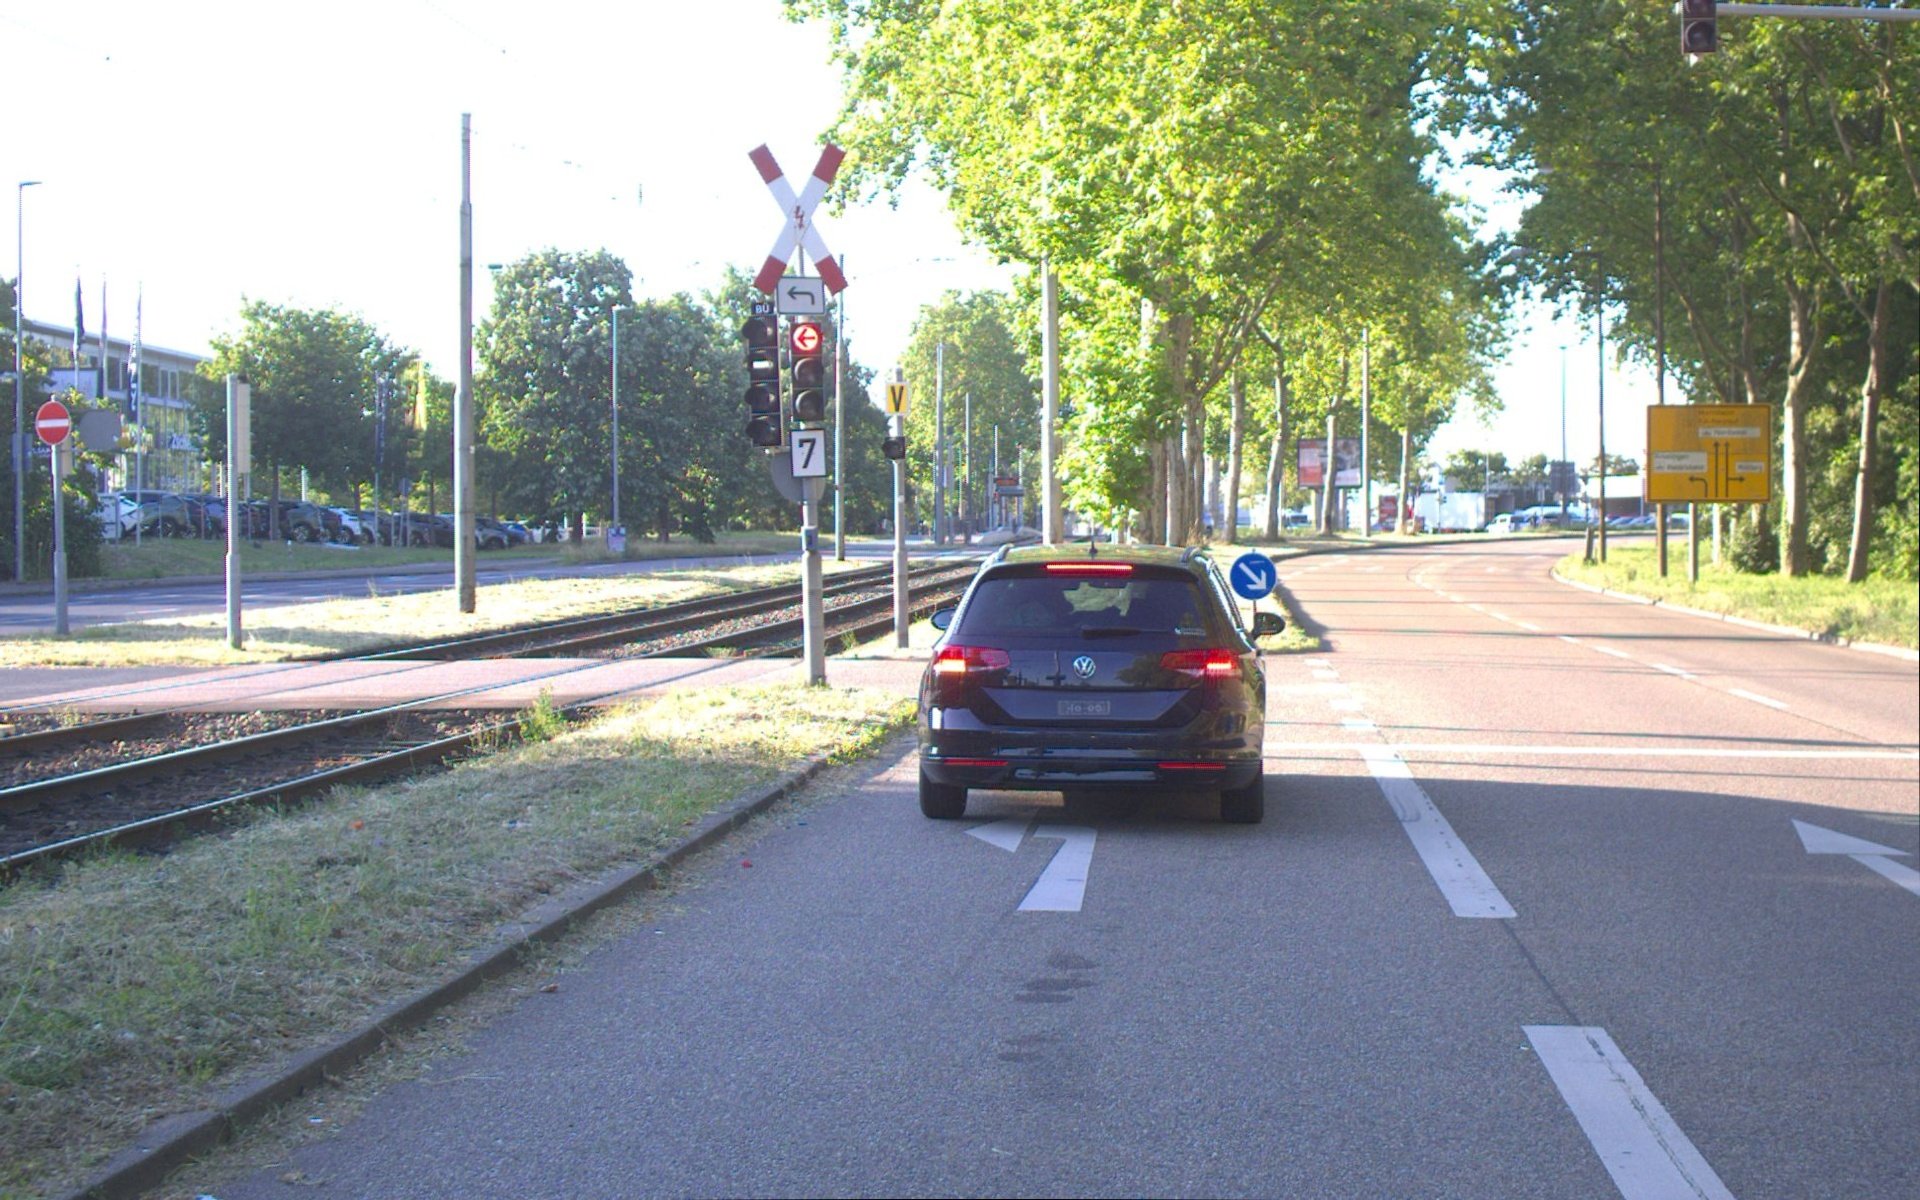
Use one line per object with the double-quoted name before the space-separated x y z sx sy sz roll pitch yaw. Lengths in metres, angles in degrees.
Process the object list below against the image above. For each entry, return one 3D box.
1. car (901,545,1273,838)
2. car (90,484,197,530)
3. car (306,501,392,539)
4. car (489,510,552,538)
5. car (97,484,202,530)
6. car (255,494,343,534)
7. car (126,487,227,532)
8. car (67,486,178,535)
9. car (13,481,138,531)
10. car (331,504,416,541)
"car" 0.785 0.416 18.730 1.793 1.398 3.688 1 1 6
"car" -26.723 -3.038 112.593 3.142 1.485 1.455 1 1 1
"car" -24.243 -3.179 136.501 3.142 1.485 1.455 1 1 1
"car" -23.289 -4.028 182.175 3.142 1.485 1.455 1 1 1
"car" -27.121 -3.098 115.065 3.142 1.485 1.455 1 1 1
"car" -25.658 -3.334 133.482 3.142 1.485 1.455 1 1 1
"car" -26.896 -3.098 118.057 3.142 1.485 1.455 1 1 1
"car" -26.472 -2.826 108.729 3.142 1.485 1.455 1 1 1
"car" -24.953 -2.647 97.009 3.142 1.387 1.455 1 1 1
"car" -23.853 -3.155 139.859 3.142 1.485 1.455 1 1 1
